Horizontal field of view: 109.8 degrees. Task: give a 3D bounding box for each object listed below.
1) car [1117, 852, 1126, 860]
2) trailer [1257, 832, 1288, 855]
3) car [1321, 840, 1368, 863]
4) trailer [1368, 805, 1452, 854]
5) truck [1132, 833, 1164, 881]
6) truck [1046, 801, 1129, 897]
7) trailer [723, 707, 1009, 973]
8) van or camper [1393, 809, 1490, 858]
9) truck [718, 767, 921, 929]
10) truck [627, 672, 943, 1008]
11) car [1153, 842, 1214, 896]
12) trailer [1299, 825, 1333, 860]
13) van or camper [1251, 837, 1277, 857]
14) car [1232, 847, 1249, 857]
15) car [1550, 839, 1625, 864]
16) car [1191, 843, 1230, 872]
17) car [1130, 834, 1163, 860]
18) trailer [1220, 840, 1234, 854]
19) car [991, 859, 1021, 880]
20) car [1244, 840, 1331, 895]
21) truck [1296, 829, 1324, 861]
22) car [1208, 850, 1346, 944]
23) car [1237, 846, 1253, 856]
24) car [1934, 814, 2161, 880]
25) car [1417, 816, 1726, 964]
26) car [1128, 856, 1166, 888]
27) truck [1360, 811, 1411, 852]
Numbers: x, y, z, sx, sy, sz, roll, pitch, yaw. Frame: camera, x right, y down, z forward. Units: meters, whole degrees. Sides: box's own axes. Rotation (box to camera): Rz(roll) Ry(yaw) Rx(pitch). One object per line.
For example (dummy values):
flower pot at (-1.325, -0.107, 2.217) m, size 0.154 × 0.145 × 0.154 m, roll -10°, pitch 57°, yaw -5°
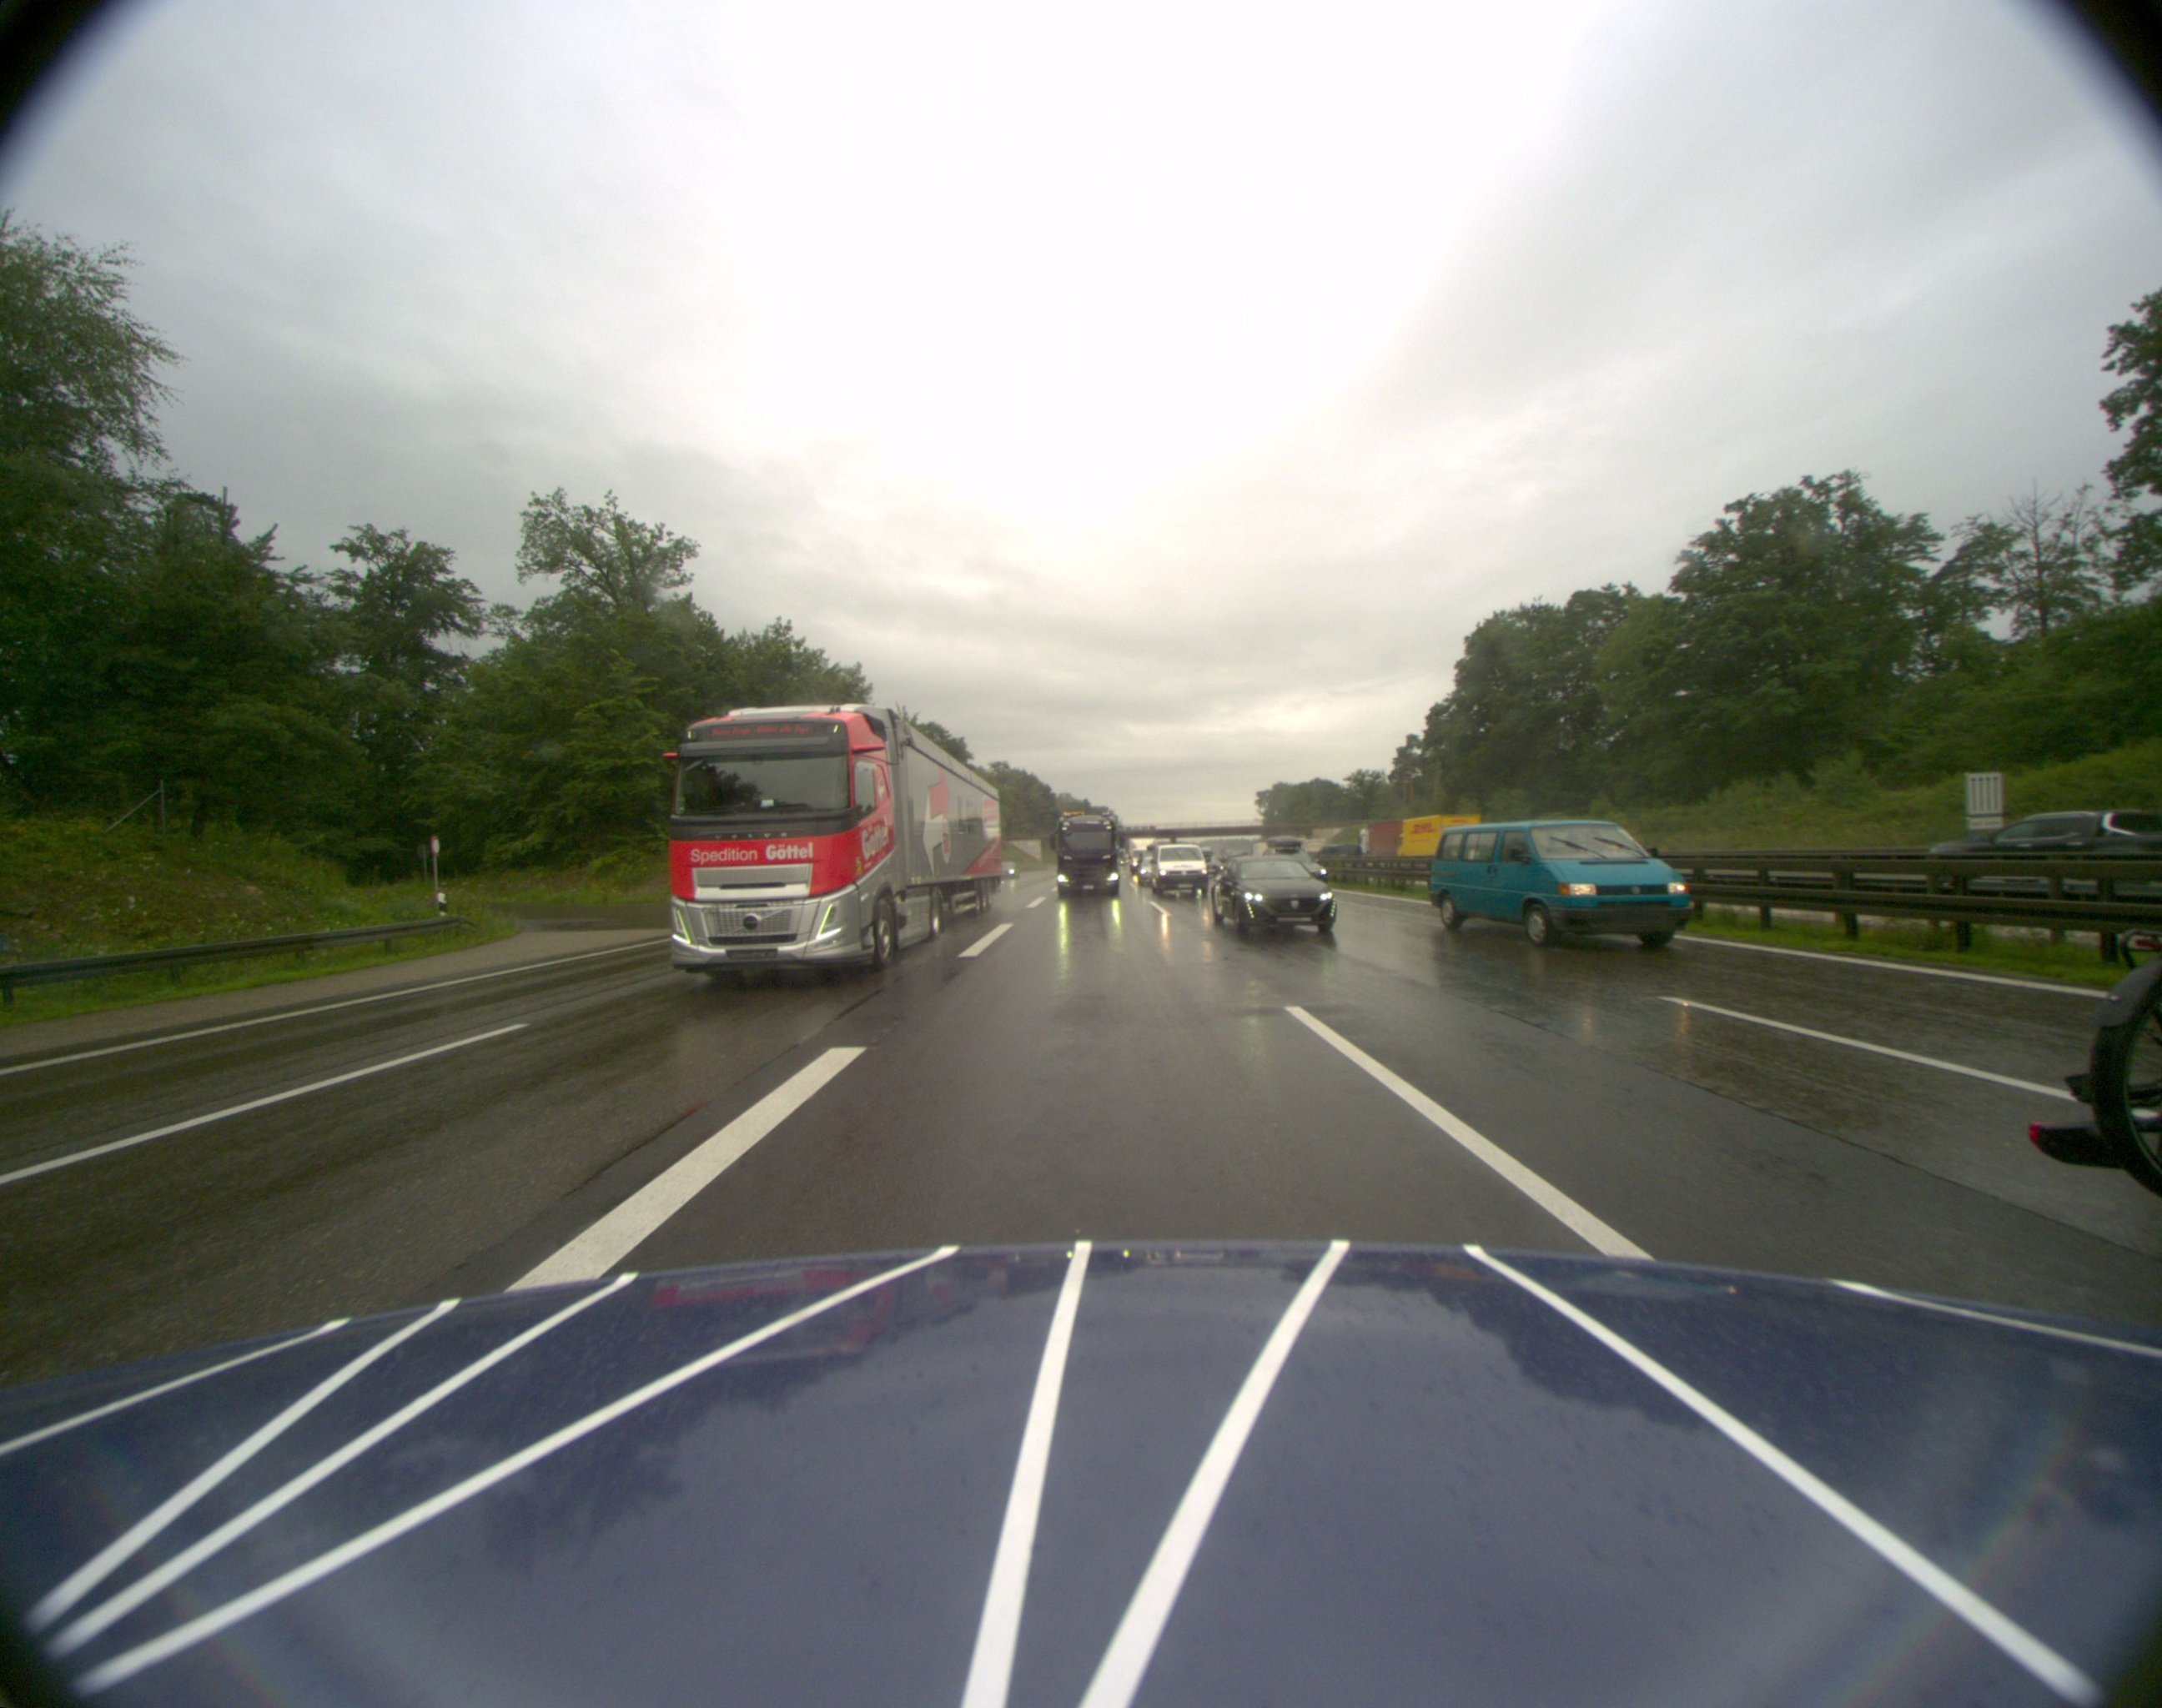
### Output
car at (8.468, 0.487, 159.505) m, size 1.864 × 1.554 × 4.436 m, roll -2°, pitch 0°, yaw 2°
trailer at (34.120, -1.872, 135.924) m, size 2.726 × 3.931 × 13.963 m, roll -1°, pitch 0°, yaw 4°
car at (16.938, -0.164, 48.972) m, size 1.806 × 1.337 × 4.001 m, roll -2°, pitch 0°, yaw 3°
trailer at (29.427, -2.058, 68.707) m, size 2.625 × 4.002 × 12.375 m, roll -2°, pitch 0°, yaw 3°
truck at (5.798, 0.254, 66.900) m, size 2.520 × 3.941 × 6.996 m, roll -2°, pitch 0°, yaw 4°
truck at (0.592, -0.255, 34.352) m, size 2.878 × 3.528 × 10.913 m, roll -2°, pitch 1°, yaw 5°
trailer at (-3.960, -0.239, 18.825) m, size 2.608 × 3.934 × 14.581 m, roll -2°, pitch 0°, yaw 1°
van or camper at (24.349, -1.291, 51.933) m, size 2.848 × 2.961 × 8.788 m, roll -2°, pitch 0°, yaw 3°
truck at (-7.586, -0.171, 23.976) m, size 2.608 × 3.934 × 9.940 m, roll -2°, pitch 0°, yaw 1°
truck at (-4.055, -0.174, 11.929) m, size 2.608 × 3.934 × 5.599 m, roll -2°, pitch 0°, yaw 0°
car at (3.911, 0.546, 29.794) m, size 1.994 × 1.869 × 4.768 m, roll -2°, pitch 0°, yaw 4°
trailer at (28.463, -1.356, 92.232) m, size 2.381 × 3.931 × 9.427 m, roll -1°, pitch 0°, yaw 8°
van or camper at (22.661, -0.872, 94.314) m, size 2.234 × 2.238 × 4.873 m, roll -2°, pitch 0°, yaw 4°
car at (29.475, -0.404, 140.466) m, size 1.982 × 1.814 × 5.222 m, roll -2°, pitch 0°, yaw 1°
car at (29.096, -0.121, 43.802) m, size 1.806 × 1.337 × 4.001 m, roll -2°, pitch 0°, yaw 3°
car at (8.771, 0.223, 51.833) m, size 1.982 × 1.814 × 4.606 m, roll -2°, pitch 0°, yaw 2°
car at (4.250, -0.429, 50.105) m, size 1.994 × 1.551 × 4.768 m, roll -2°, pitch 0°, yaw 3°
trailer at (43.040, -1.976, 224.540) m, size 3.030 × 3.795 × 13.566 m, roll -2°, pitch 0°, yaw 6°
car at (-6.288, 1.299, 64.002) m, size 1.864 × 1.554 × 4.407 m, roll -2°, pitch 0°, yaw 2°
car at (7.556, 0.442, 28.244) m, size 1.982 × 1.814 × 4.606 m, roll -2°, pitch 0°, yaw 1°
truck at (29.106, -1.096, 96.947) m, size 2.381 × 3.931 × 6.540 m, roll -1°, pitch 0°, yaw 8°
car at (3.735, 0.728, 15.283) m, size 1.850 × 1.496 × 4.467 m, roll -3°, pitch 1°, yaw 4°
car at (30.524, -0.575, 141.359) m, size 1.998 × 1.759 × 5.040 m, roll -1°, pitch 0°, yaw 2°
car at (22.773, -0.173, 17.525) m, size 1.806 × 1.337 × 4.001 m, roll -2°, pitch 0°, yaw 3°
car at (7.465, 0.461, 12.308) m, size 1.915 × 1.852 × 4.759 m, roll -2°, pitch 0°, yaw 1°
car at (3.430, 0.877, 39.897) m, size 1.850 × 1.496 × 4.467 m, roll -2°, pitch 0°, yaw 4°
truck at (29.764, -2.098, 74.481) m, size 2.710 × 3.795 × 6.265 m, roll -2°, pitch 0°, yaw 3°
